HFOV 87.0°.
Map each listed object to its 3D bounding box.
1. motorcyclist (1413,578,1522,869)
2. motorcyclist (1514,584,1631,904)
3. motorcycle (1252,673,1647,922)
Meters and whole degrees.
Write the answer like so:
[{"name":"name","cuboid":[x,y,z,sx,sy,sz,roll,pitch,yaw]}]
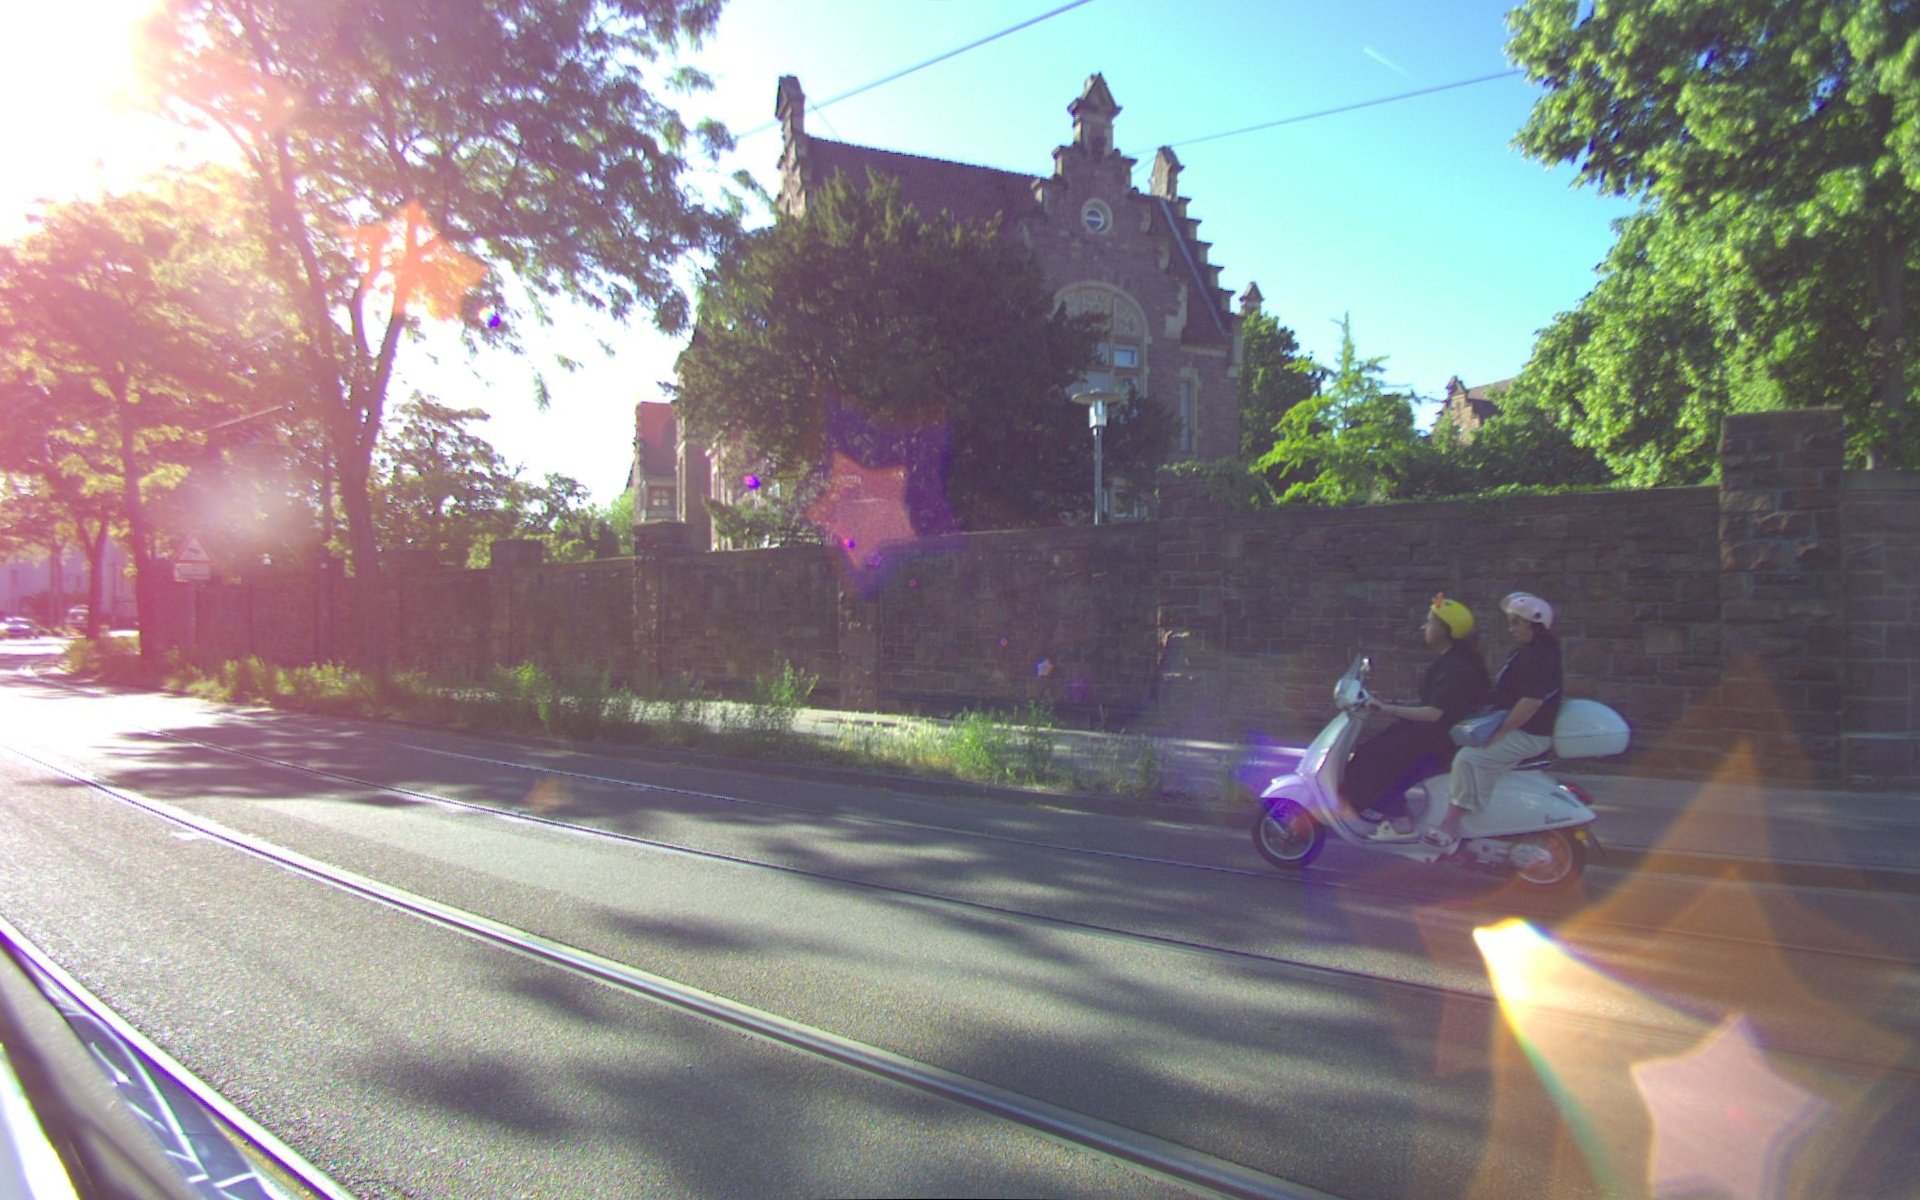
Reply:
[{"name":"motorcyclist","cuboid":[2.749,0.623,5.469,0.445,1.451,0.678,-1,-1,32]},{"name":"motorcyclist","cuboid":[3.148,0.691,5.217,0.464,1.527,0.602,-1,-1,32]},{"name":"motorcycle","cuboid":[2.618,0.990,5.550,1.850,1.101,0.604,-1,-1,32]}]
